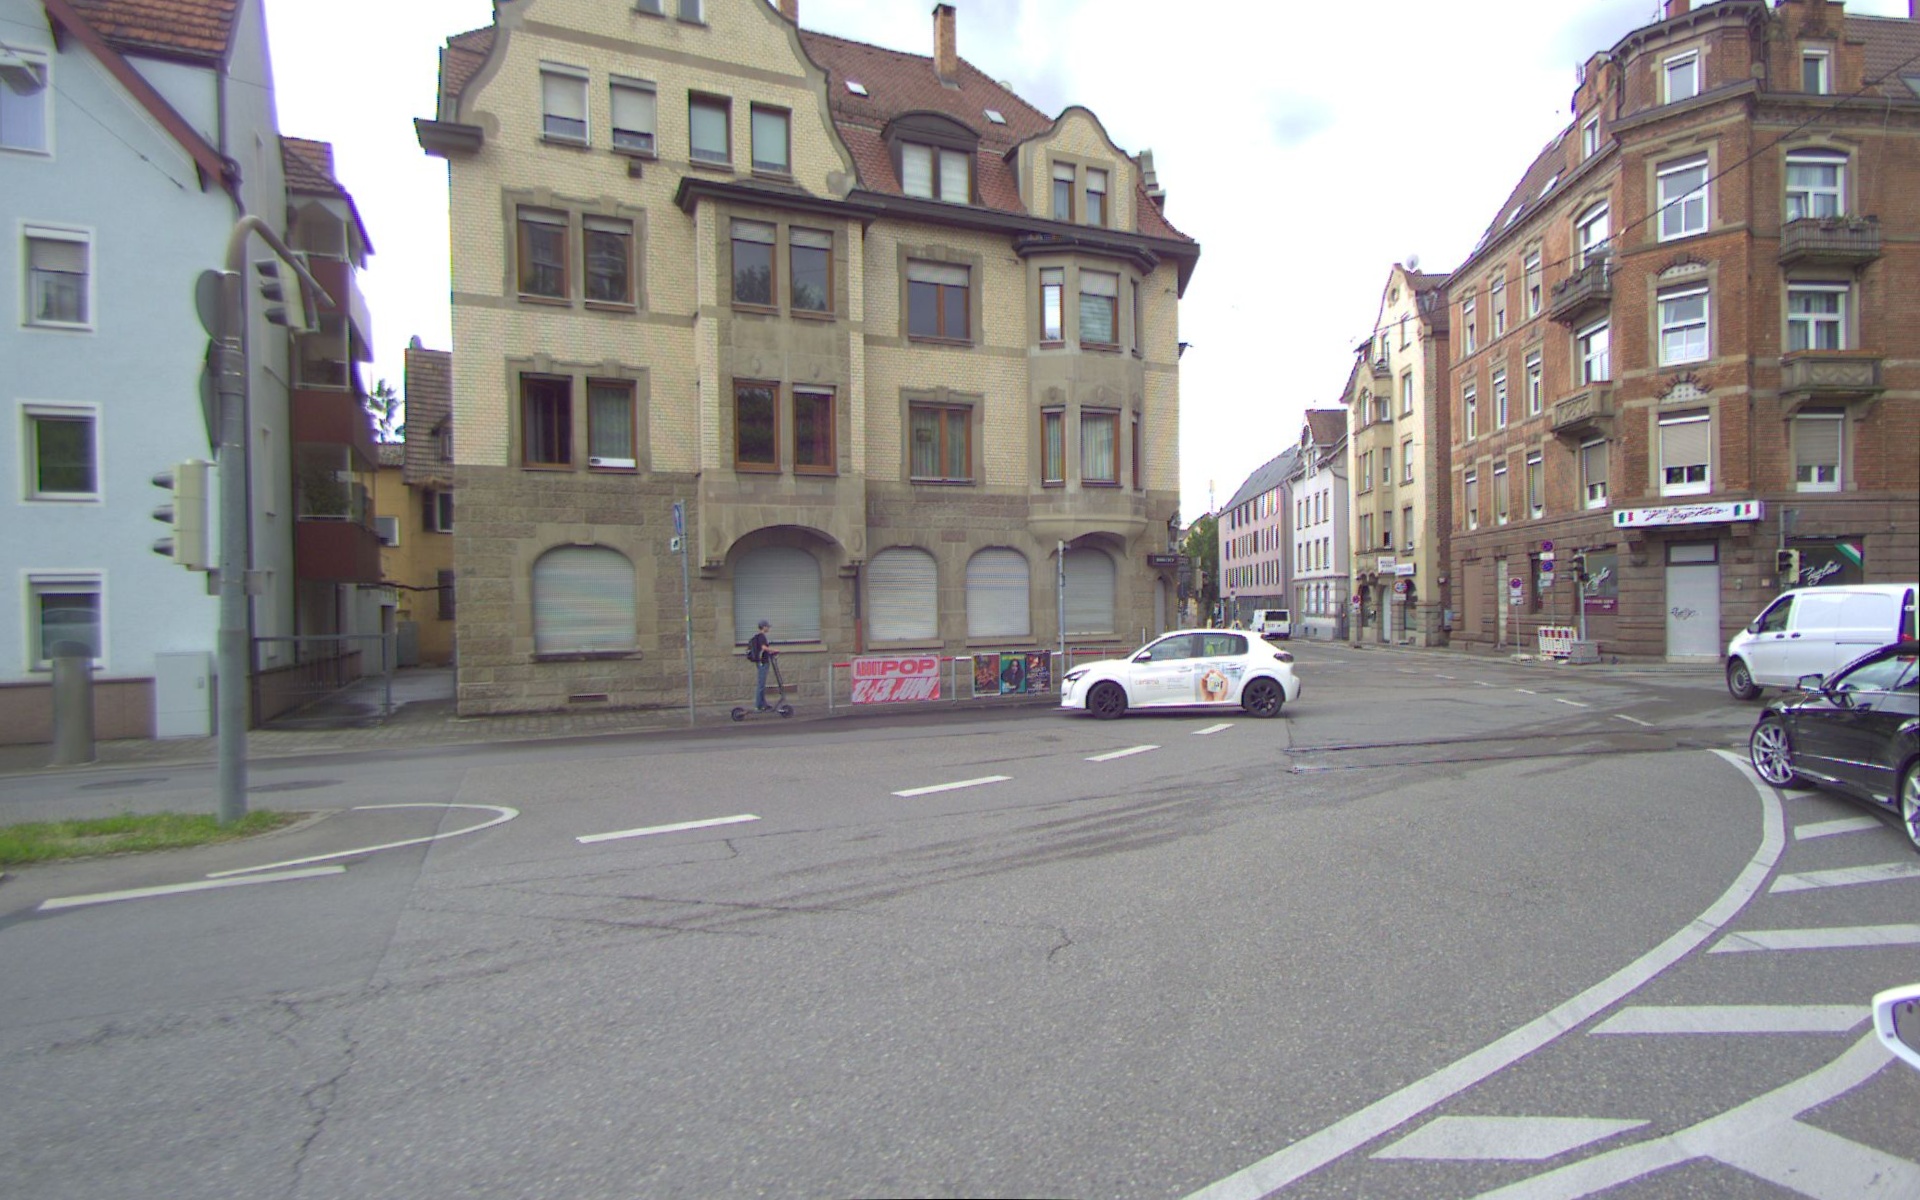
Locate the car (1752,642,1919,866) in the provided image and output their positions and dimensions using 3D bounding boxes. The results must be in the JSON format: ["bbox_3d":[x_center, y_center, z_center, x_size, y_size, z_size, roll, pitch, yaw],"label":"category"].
[{"bbox_3d":[7.459,1.012,7.223,1.734,1.427,4.396,-3,-4,25],"label":"car"}]

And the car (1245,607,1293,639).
[{"bbox_3d":[21.096,1.549,68.843,2.092,2.031,4.928,1,-1,4],"label":"car"}]

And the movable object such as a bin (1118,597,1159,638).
[{"bbox_3d":[13.272,1.275,74.905,2.494,2.862,4.541,-2,-1,5],"label":"movable object such as a bin"}]

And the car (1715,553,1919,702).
[{"bbox_3d":[13.802,0.463,15.310,1.859,1.953,4.649,-3,-4,13],"label":"car"}]

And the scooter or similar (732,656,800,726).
[{"bbox_3d":[-3.683,1.708,19.063,1.210,1.258,0.377,0,-2,-25],"label":"scooter or similar"}]

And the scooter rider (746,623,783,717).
[{"bbox_3d":[-3.718,1.314,19.055,0.569,1.728,0.486,0,-2,-25],"label":"scooter rider"}]

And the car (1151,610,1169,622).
[{"bbox_3d":[27.734,2.219,139.410,1.960,1.505,4.002,3,0,5],"label":"car"}]

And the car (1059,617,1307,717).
[{"bbox_3d":[3.726,1.154,16.972,3.840,1.485,1.688,-3,-4,14],"label":"car"}]
